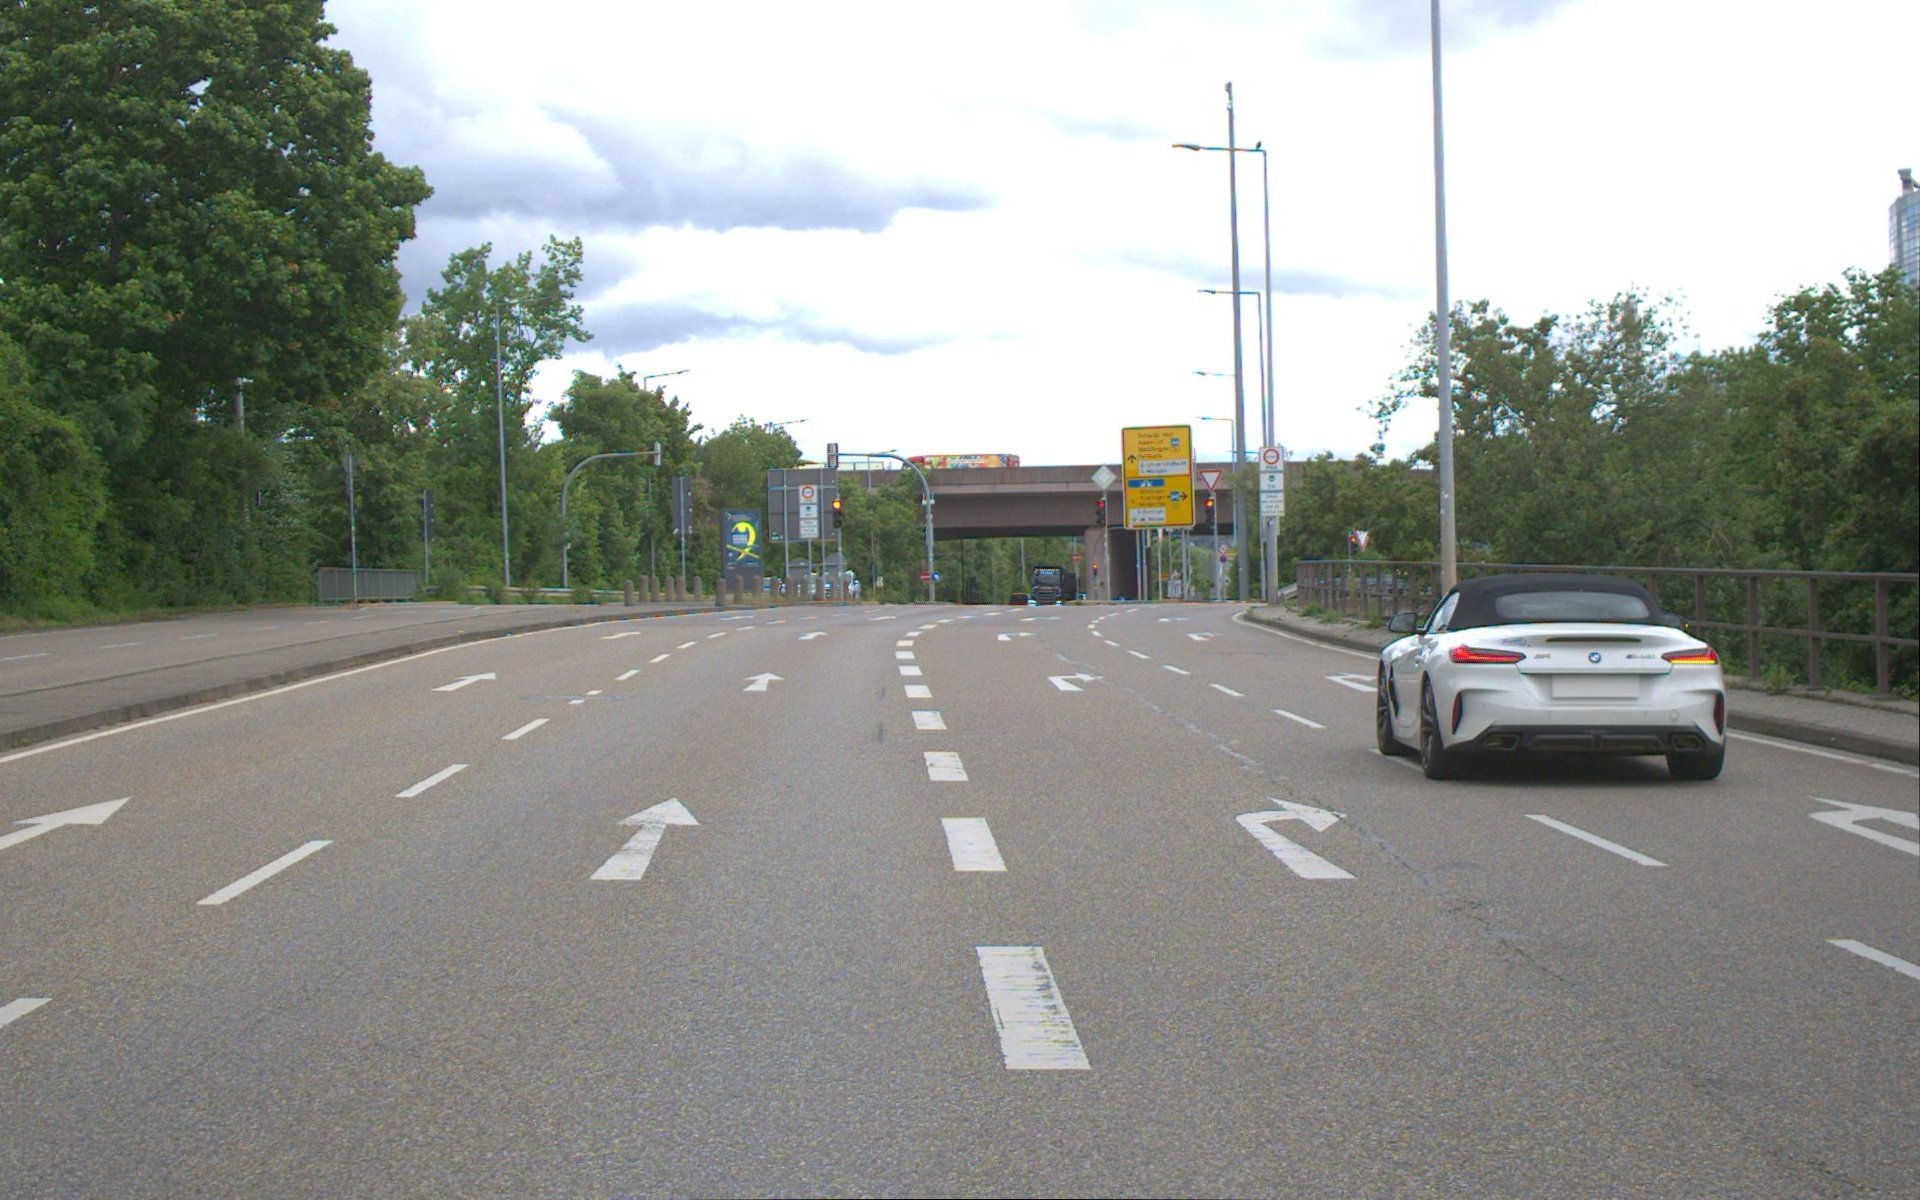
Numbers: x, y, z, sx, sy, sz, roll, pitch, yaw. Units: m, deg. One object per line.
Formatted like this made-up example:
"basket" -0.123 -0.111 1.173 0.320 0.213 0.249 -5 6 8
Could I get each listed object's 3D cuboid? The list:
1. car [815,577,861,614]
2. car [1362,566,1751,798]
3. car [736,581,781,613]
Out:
"car" -5.463 -0.201 154.169 1.771 1.627 3.824 1 0 2
"car" 3.848 0.479 22.812 1.875 1.305 3.873 2 1 0
"car" -9.466 -0.155 161.522 1.760 1.479 3.484 1 0 2
